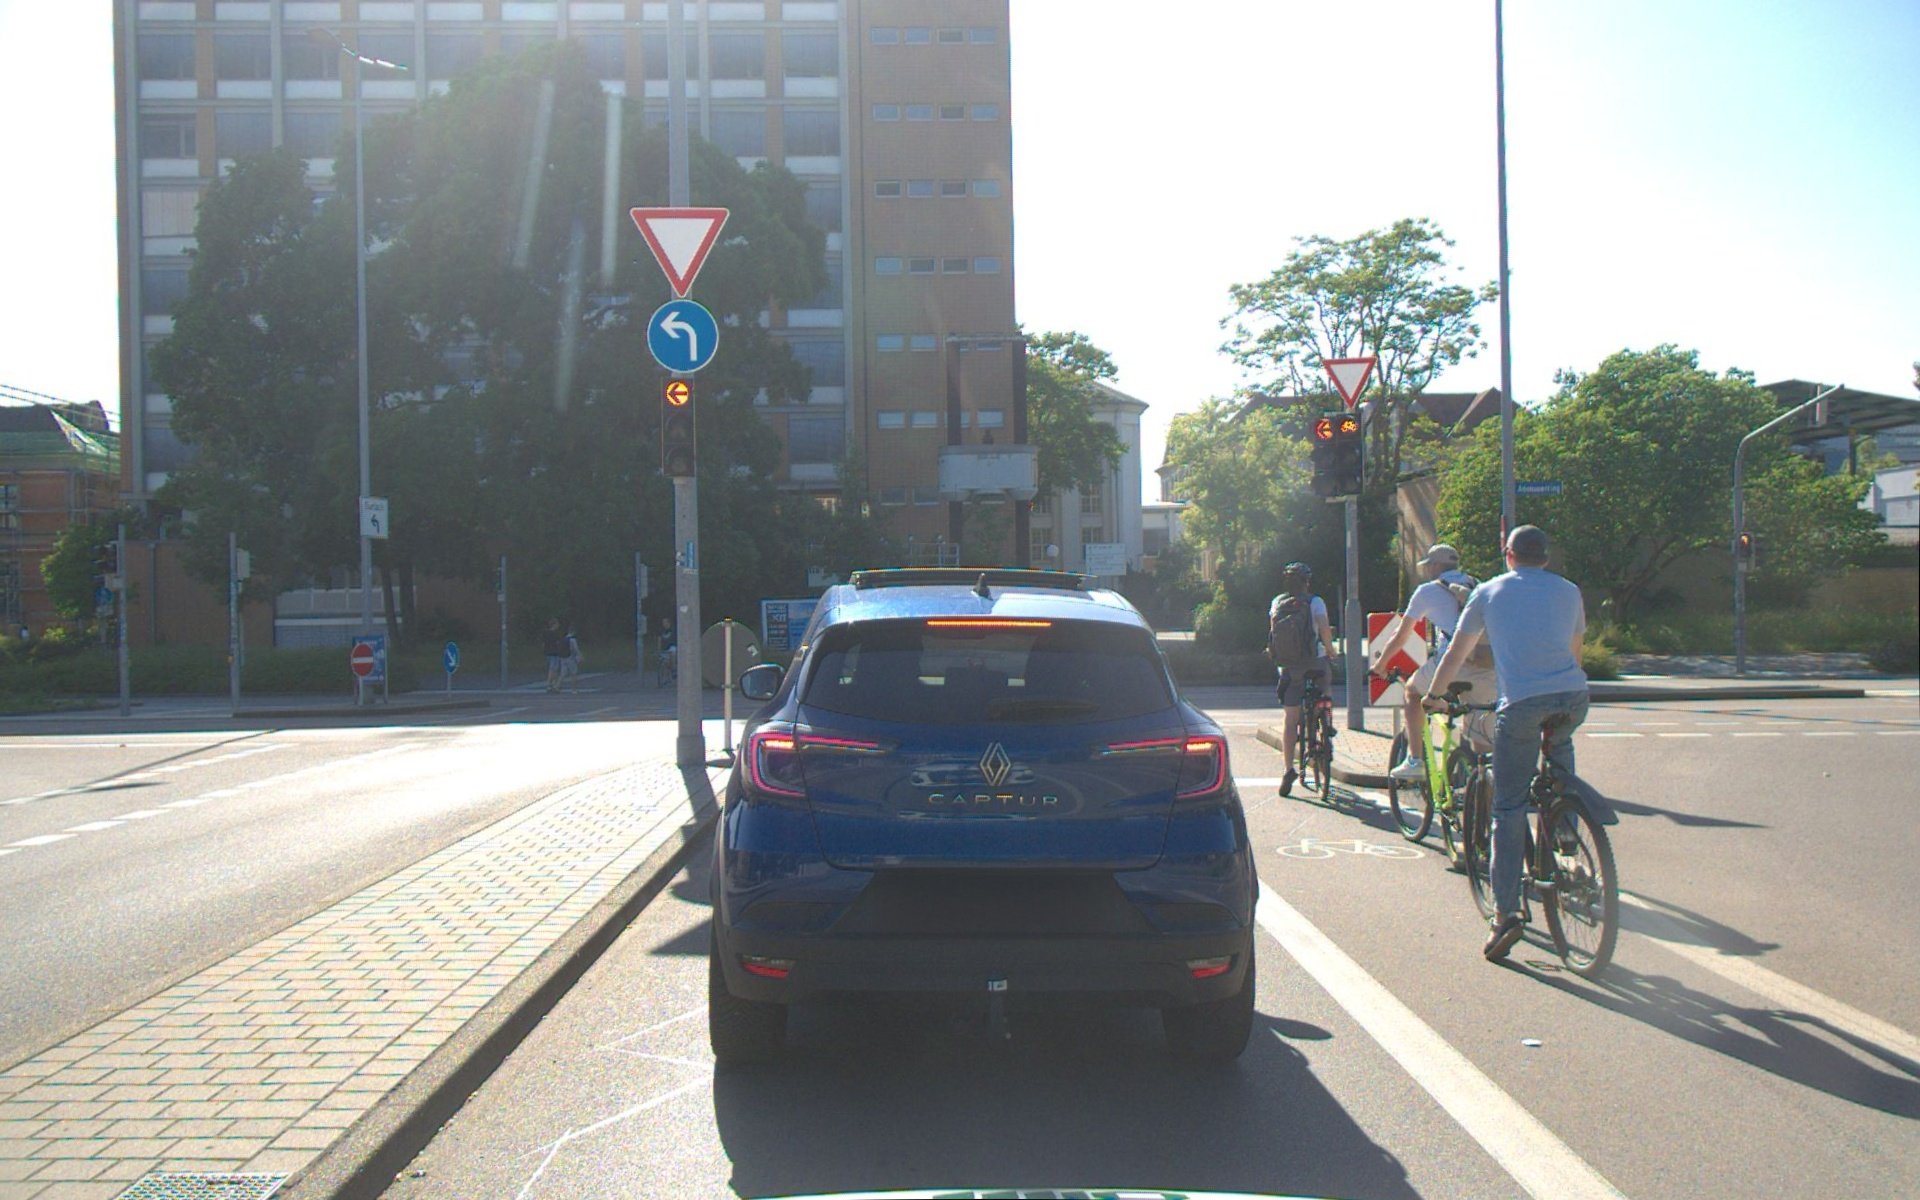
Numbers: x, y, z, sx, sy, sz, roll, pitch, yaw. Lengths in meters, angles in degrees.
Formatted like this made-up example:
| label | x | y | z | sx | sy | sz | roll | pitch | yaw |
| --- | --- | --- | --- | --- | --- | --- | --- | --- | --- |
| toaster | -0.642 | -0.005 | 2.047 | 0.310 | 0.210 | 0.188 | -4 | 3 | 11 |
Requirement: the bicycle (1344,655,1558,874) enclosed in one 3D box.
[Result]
| label | x | y | z | sx | sy | sz | roll | pitch | yaw |
| --- | --- | --- | --- | --- | --- | --- | --- | --- | --- |
| bicycle | 2.852 | 0.910 | 9.814 | 0.675 | 1.108 | 1.922 | 0 | 0 | -1 |

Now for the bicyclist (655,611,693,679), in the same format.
| label | x | y | z | sx | sy | sz | roll | pitch | yaw |
| --- | --- | --- | --- | --- | --- | --- | --- | --- | --- |
| bicyclist | -7.551 | 1.171 | 43.655 | 0.739 | 1.746 | 0.999 | -1 | 0 | 5 |

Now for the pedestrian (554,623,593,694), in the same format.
| label | x | y | z | sx | sy | sz | roll | pitch | yaw |
| --- | --- | --- | --- | --- | --- | --- | --- | --- | --- |
| pedestrian | -9.863 | 1.483 | 42.222 | 0.666 | 1.761 | 0.761 | -1 | 0 | 13 |

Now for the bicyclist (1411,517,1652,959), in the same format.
| label | x | y | z | sx | sy | sz | roll | pitch | yaw |
| --- | --- | --- | --- | --- | --- | --- | --- | --- | --- |
| bicyclist | 2.517 | 0.571 | 7.401 | 0.669 | 1.822 | 1.142 | 0 | 0 | -1 |

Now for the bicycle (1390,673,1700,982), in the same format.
| label | x | y | z | sx | sy | sz | roll | pitch | yaw |
| --- | --- | --- | --- | --- | --- | --- | --- | --- | --- |
| bicycle | 2.512 | 0.920 | 7.354 | 0.675 | 1.108 | 1.922 | 0 | 0 | -1 |

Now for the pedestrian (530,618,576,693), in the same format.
| label | x | y | z | sx | sy | sz | roll | pitch | yaw |
| --- | --- | --- | --- | --- | --- | --- | --- | --- | --- |
| pedestrian | -10.512 | 1.425 | 42.757 | 0.796 | 1.895 | 0.910 | -1 | 0 | 13 |

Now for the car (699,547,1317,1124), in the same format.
| label | x | y | z | sx | sy | sz | roll | pitch | yaw |
| --- | --- | --- | --- | --- | --- | --- | --- | --- | --- |
| car | 0.056 | 0.662 | 6.633 | 1.753 | 1.613 | 3.912 | 0 | 0 | -3 |

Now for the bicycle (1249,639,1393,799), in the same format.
| label | x | y | z | sx | sy | sz | roll | pitch | yaw |
| --- | --- | --- | --- | --- | --- | --- | --- | --- | --- |
| bicycle | 2.768 | 0.882 | 12.883 | 0.675 | 1.108 | 1.922 | 0 | 0 | -1 |

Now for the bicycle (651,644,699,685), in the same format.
| label | x | y | z | sx | sy | sz | roll | pitch | yaw |
| --- | --- | --- | --- | --- | --- | --- | --- | --- | --- |
| bicycle | -7.532 | 1.699 | 43.758 | 0.739 | 1.002 | 2.095 | -1 | 0 | 5 |

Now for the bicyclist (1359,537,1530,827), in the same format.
| label | x | y | z | sx | sy | sz | roll | pitch | yaw |
| --- | --- | --- | --- | --- | --- | --- | --- | --- | --- |
| bicyclist | 2.858 | 0.460 | 9.858 | 0.664 | 1.622 | 1.142 | 0 | 0 | -1 |

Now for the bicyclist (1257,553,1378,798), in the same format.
| label | x | y | z | sx | sy | sz | roll | pitch | yaw |
| --- | --- | --- | --- | --- | --- | --- | --- | --- | --- |
| bicyclist | 2.760 | 0.561 | 12.861 | 0.685 | 1.822 | 1.142 | 0 | 0 | -1 |
